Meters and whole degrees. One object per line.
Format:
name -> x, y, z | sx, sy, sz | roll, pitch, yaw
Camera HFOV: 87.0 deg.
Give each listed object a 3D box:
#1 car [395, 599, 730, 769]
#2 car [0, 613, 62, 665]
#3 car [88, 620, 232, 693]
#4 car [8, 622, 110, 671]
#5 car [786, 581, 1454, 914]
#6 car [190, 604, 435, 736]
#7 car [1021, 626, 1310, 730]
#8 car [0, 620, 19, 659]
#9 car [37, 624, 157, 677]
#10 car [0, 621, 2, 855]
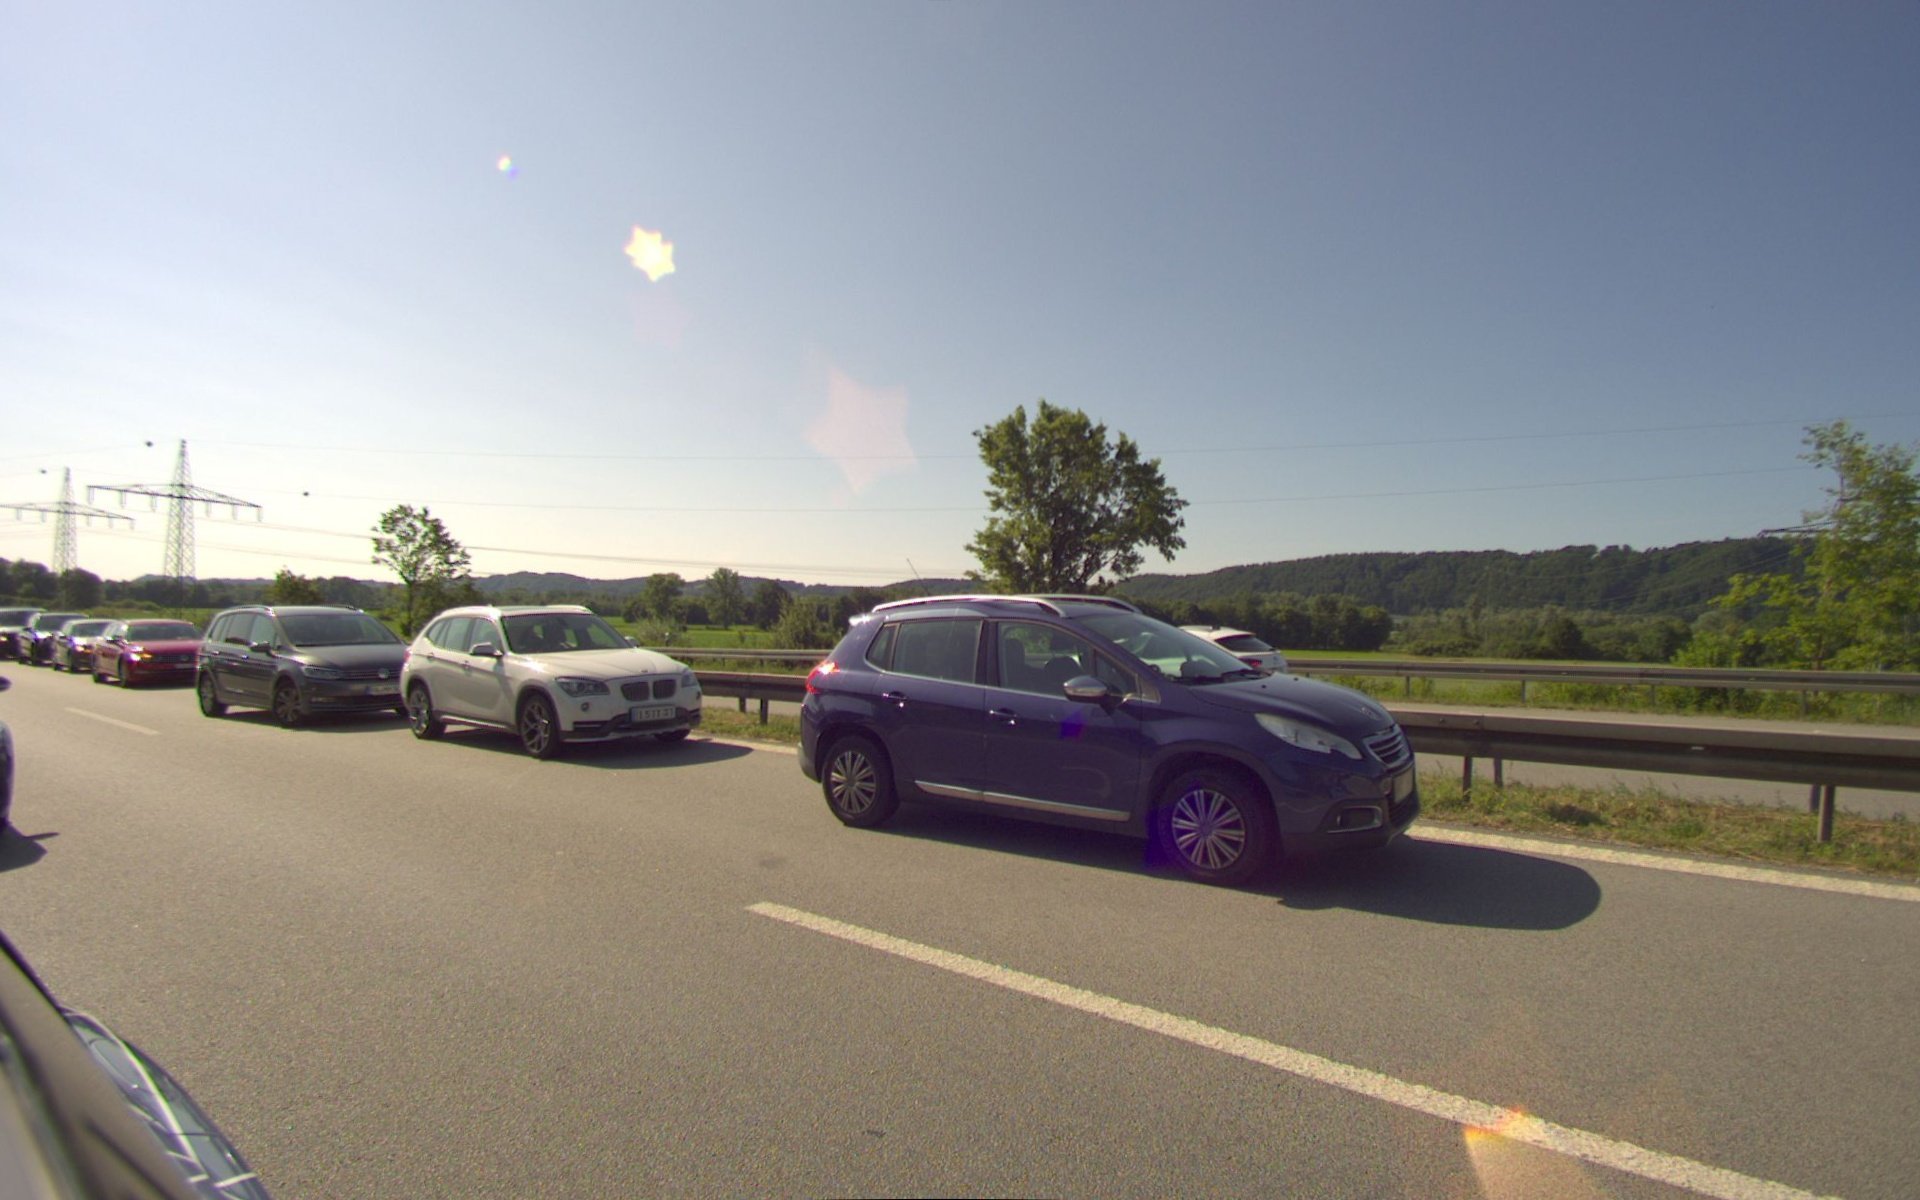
car -> -4.633, 0.831, 11.522 | 4.160, 1.586, 1.809 | -1, -1, 40
car -> -34.399, 1.402, 36.833 | 4.195, 1.801, 1.878 | -1, -2, 39
car -> -17.995, 1.211, 22.699 | 4.115, 1.470, 1.796 | -1, -2, 41
car -> -29.020, 1.451, 32.564 | 3.996, 1.466, 1.870 | -1, -2, 40
car -> 0.869, 0.706, 6.546 | 3.941, 1.546, 1.672 | -1, 0, 36
car -> -9.443, 0.910, 14.646 | 4.113, 1.628, 1.797 | -1, -1, 39
car -> 3.223, 1.159, 16.369 | 4.301, 1.437, 1.677 | -1, -1, 40
car -> -40.048, 1.587, 41.239 | 3.996, 1.542, 1.974 | -1, -2, 39
car -> -24.405, 1.375, 28.595 | 3.995, 1.409, 1.871 | -1, -2, 39
car -> -8.052, 0.882, 6.926 | 4.322, 1.424, 1.695 | -1, -1, 40
